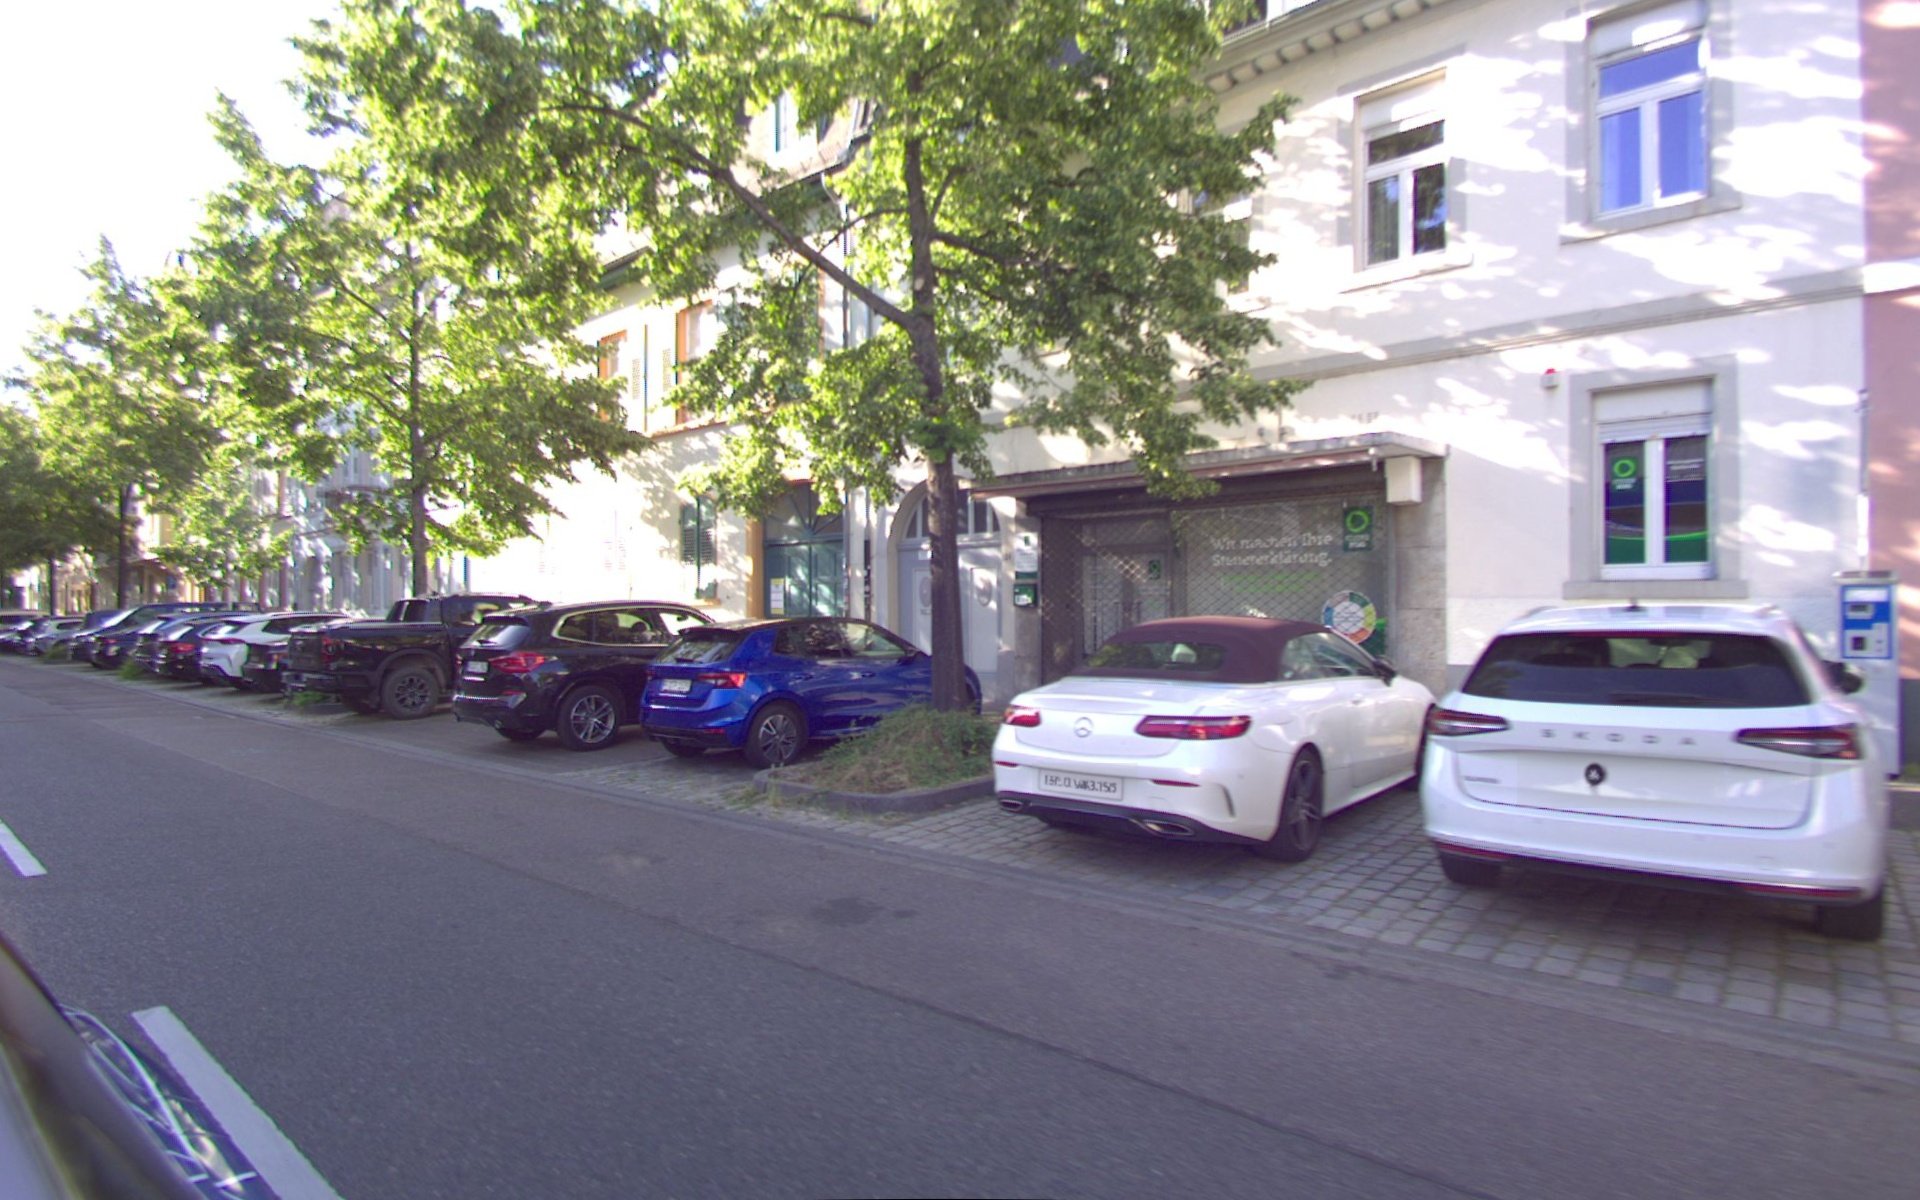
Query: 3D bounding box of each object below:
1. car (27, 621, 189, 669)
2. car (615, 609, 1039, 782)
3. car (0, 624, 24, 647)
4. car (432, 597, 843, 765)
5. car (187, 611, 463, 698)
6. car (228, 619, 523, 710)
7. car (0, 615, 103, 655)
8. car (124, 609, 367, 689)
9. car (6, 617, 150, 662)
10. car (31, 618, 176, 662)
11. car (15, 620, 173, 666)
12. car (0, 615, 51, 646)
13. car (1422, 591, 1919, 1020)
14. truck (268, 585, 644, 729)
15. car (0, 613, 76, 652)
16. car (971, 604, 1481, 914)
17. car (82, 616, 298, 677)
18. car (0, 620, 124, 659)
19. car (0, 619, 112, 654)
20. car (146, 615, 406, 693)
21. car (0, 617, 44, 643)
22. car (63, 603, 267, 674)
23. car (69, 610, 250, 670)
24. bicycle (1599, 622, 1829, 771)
[{"bbox_3d":[-31.293,1.593,37.245,1.917,1.552,4.416,-1,0,44],"label":"car"},{"bbox_3d":[-1.255,0.872,11.286,1.808,1.474,4.630,-1,0,42],"label":"car"},{"bbox_3d":[-65.227,2.417,66.913,1.996,1.503,4.657,0,1,36],"label":"car"},{"bbox_3d":[-3.812,0.835,12.664,1.808,1.706,4.630,-1,0,42],"label":"car"},{"bbox_3d":[-13.231,1.057,21.329,1.808,1.584,4.630,-1,0,42],"label":"car"},{"bbox_3d":[-11.152,1.145,19.578,1.808,1.474,4.630,-1,0,42],"label":"car"},{"bbox_3d":[-44.666,1.667,49.124,1.910,1.848,4.307,-1,0,31],"label":"car"},{"bbox_3d":[-17.491,1.119,24.956,1.808,1.725,4.630,-1,0,42],"label":"car"},{"bbox_3d":[-36.564,1.595,42.050,1.915,1.722,4.294,-1,0,41],"label":"car"},{"bbox_3d":[-34.680,1.586,41.052,1.808,1.594,4.294,-1,0,41],"label":"car"},{"bbox_3d":[-33.294,1.608,39.002,1.915,1.552,4.421,-1,0,40],"label":"car"},{"bbox_3d":[-57.800,1.839,60.887,1.924,1.838,4.305,-1,0,33],"label":"car"},{"bbox_3d":[4.248,0.705,5.715,1.807,1.476,4.633,-1,0,40],"label":"car"},{"bbox_3d":[-7.858,0.827,16.259,1.999,1.953,5.032,-1,-2,40],"label":"truck"},{"bbox_3d":[-48.674,1.659,52.147,1.930,1.941,4.523,-1,0,43],"label":"car"},{"bbox_3d":[2.227,0.794,7.315,1.806,1.476,4.634,-1,0,39],"label":"car"},{"bbox_3d":[-21.436,1.235,28.337,1.683,1.470,4.597,-1,0,41],"label":"car"},{"bbox_3d":[-38.792,1.655,43.348,1.917,1.552,4.417,-1,0,43],"label":"car"},{"bbox_3d":[-42.557,1.675,47.227,1.914,1.450,4.296,-1,0,39],"label":"car"},{"bbox_3d":[-15.448,1.139,23.062,1.808,1.531,4.630,-1,0,42],"label":"car"},{"bbox_3d":[-59.785,1.884,62.591,1.956,1.556,4.310,-1,0,29],"label":"car"},{"bbox_3d":[-23.990,1.092,30.686,1.916,1.965,4.630,-1,0,42],"label":"car"},{"bbox_3d":[-26.174,1.257,33.187,1.916,1.785,4.418,-1,0,42],"label":"car"},{"bbox_3d":[6.816,0.826,9.214,1.627,1.255,0.499,-1,-2,40],"label":"bicycle"}]
